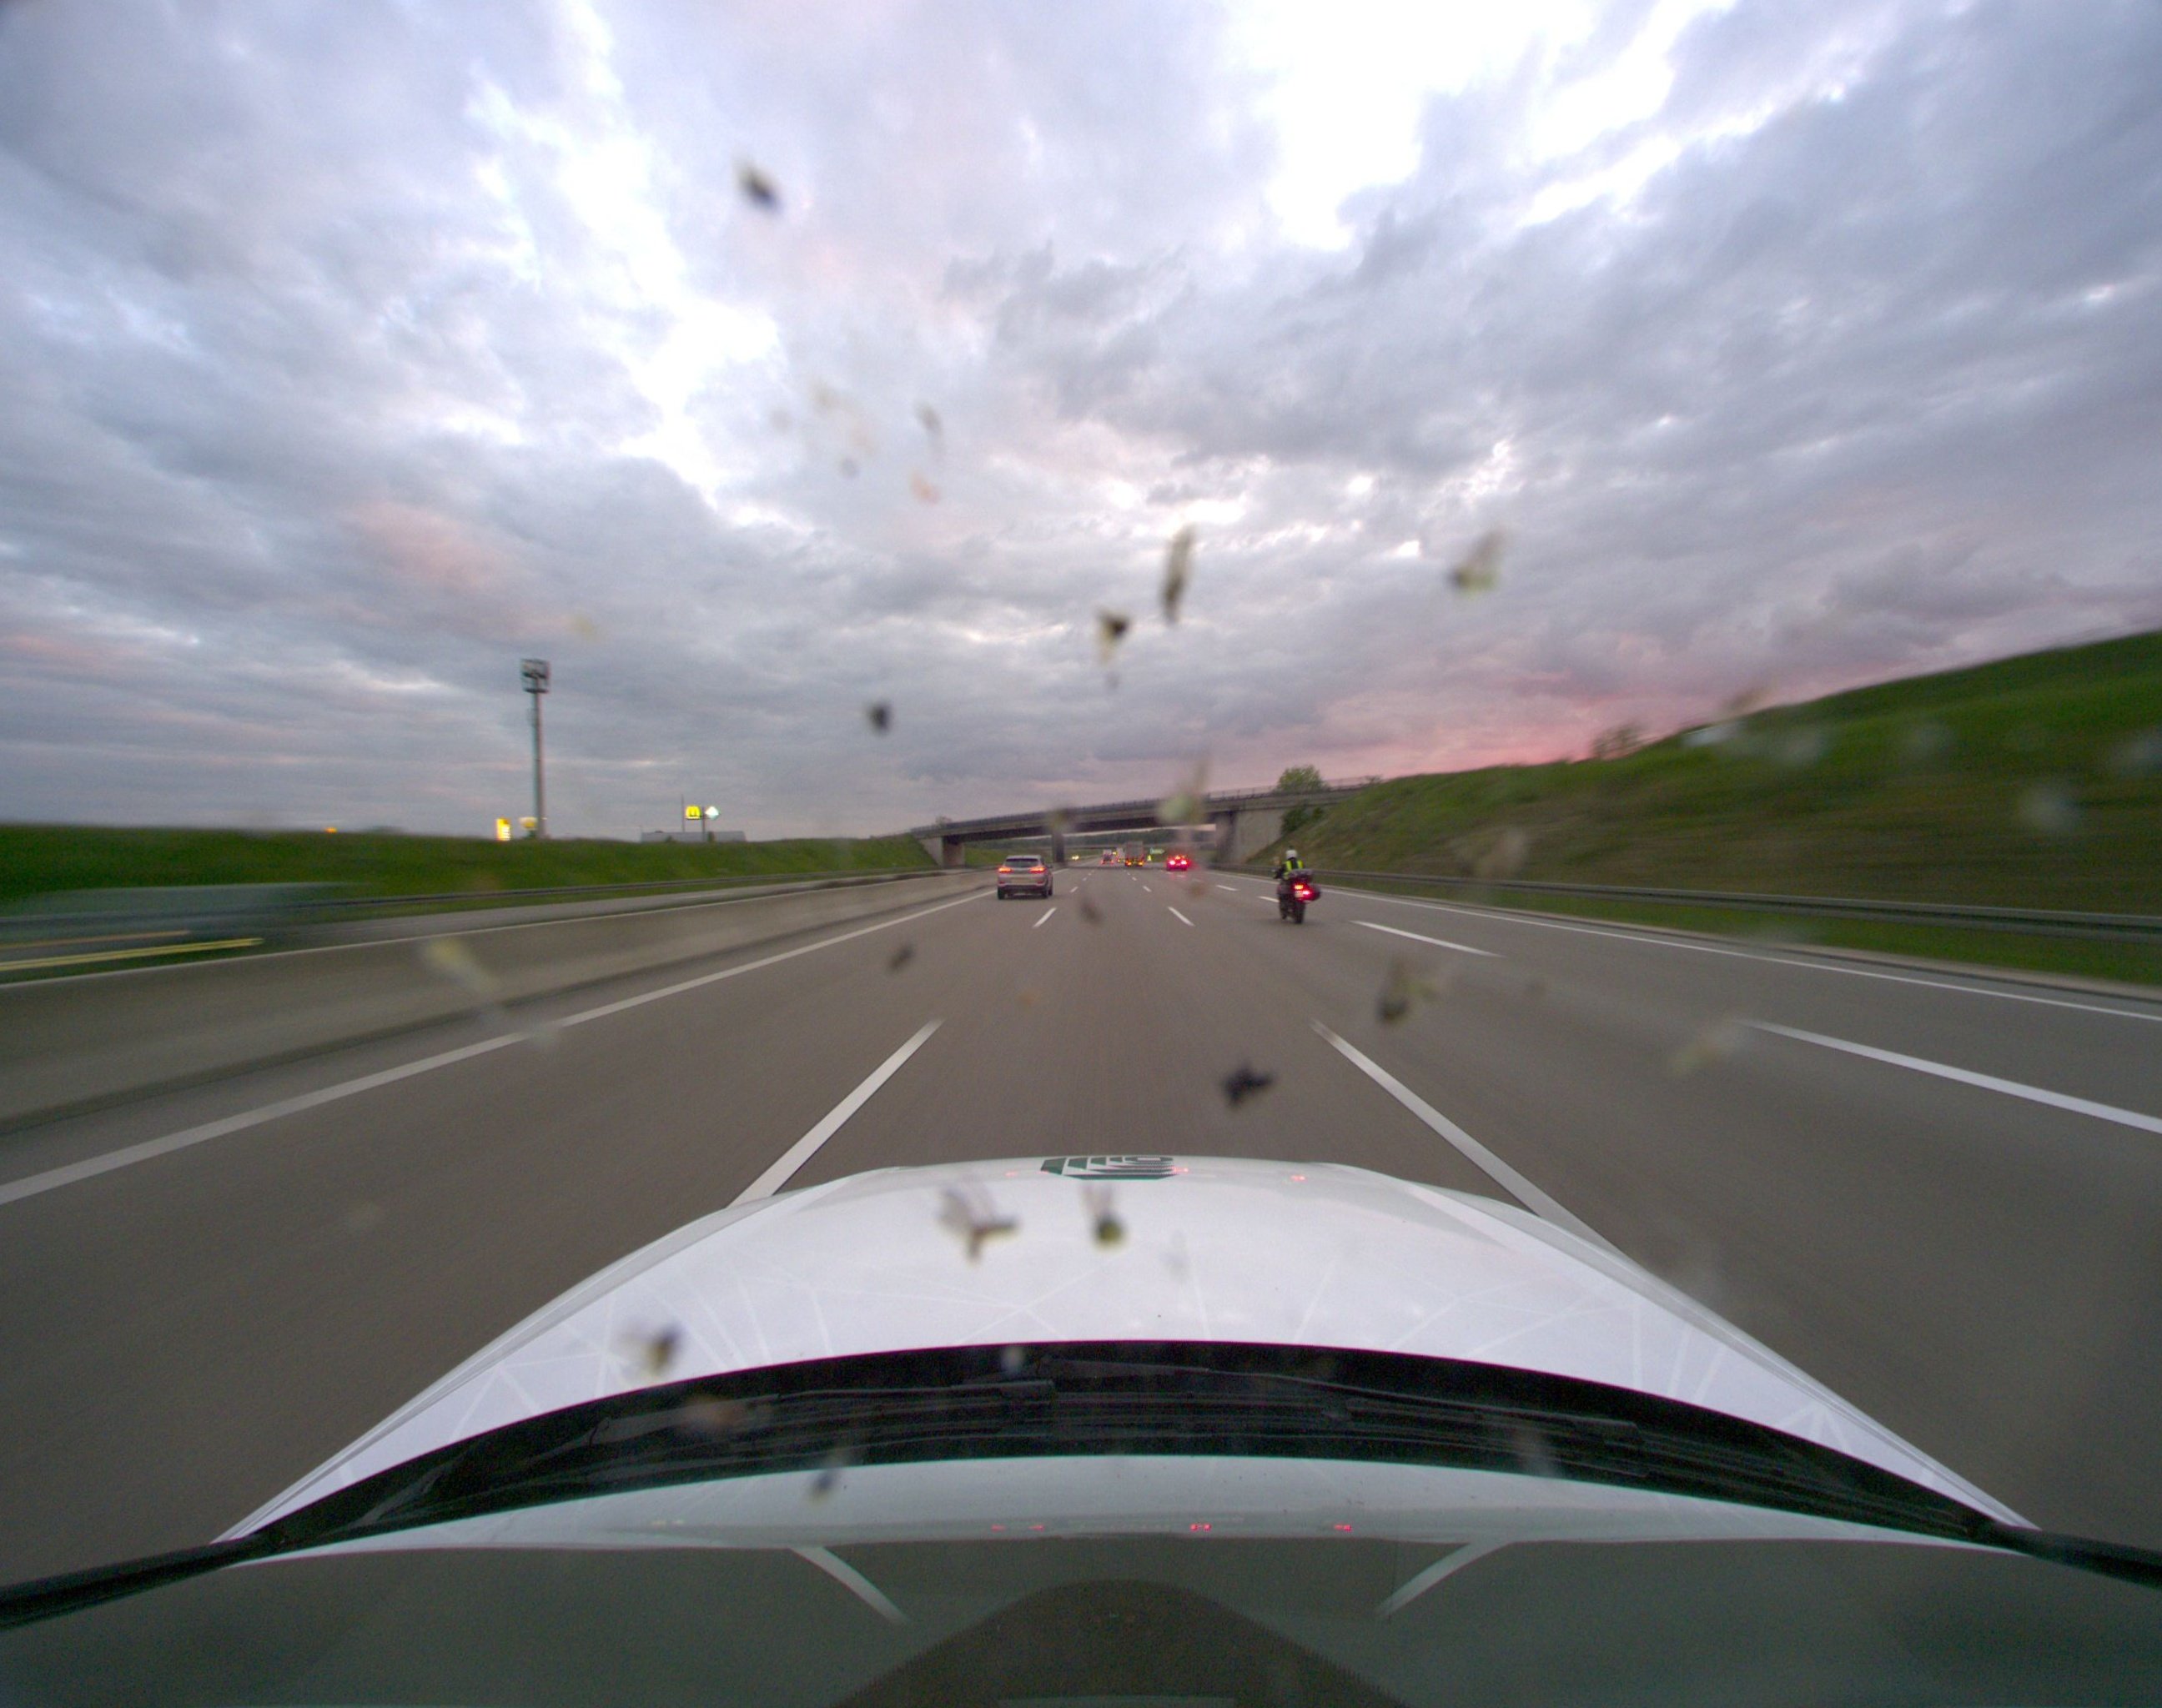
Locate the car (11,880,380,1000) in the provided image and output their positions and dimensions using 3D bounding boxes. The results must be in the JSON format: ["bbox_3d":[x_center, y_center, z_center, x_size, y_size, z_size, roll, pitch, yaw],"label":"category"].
[{"bbox_3d":[-14.662,1.322,13.894,1.812,1.628,4.002,-1,-1,2],"label":"car"}]

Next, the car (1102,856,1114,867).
[{"bbox_3d":[5.936,1.578,181.598,2.507,2.391,6.497,-1,0,1],"label":"car"}]

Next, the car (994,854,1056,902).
[{"bbox_3d":[-2.098,0.877,31.947,1.845,1.692,5.514,-1,0,2],"label":"car"}]

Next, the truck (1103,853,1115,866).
[{"bbox_3d":[6.776,1.269,197.597,2.941,3.217,8.408,0,0,1],"label":"truck"}]

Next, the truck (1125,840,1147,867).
[{"bbox_3d":[8.513,-0.100,127.990,3.221,4.227,9.604,0,0,2],"label":"truck"}]

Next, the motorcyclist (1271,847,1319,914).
[{"bbox_3d":[4.872,0.586,18.626,0.862,1.487,1.169,0,0,3],"label":"motorcyclist"}]

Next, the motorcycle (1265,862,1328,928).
[{"bbox_3d":[4.894,0.895,18.690,0.898,1.346,2.350,-1,1,2],"label":"motorcycle"}]

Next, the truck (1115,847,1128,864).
[{"bbox_3d":[11.032,0.372,222.239,3.512,4.345,8.408,0,0,1],"label":"truck"}]

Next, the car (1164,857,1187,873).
[{"bbox_3d":[9.874,1.137,85.377,1.911,1.579,4.001,-1,0,1],"label":"car"}]
